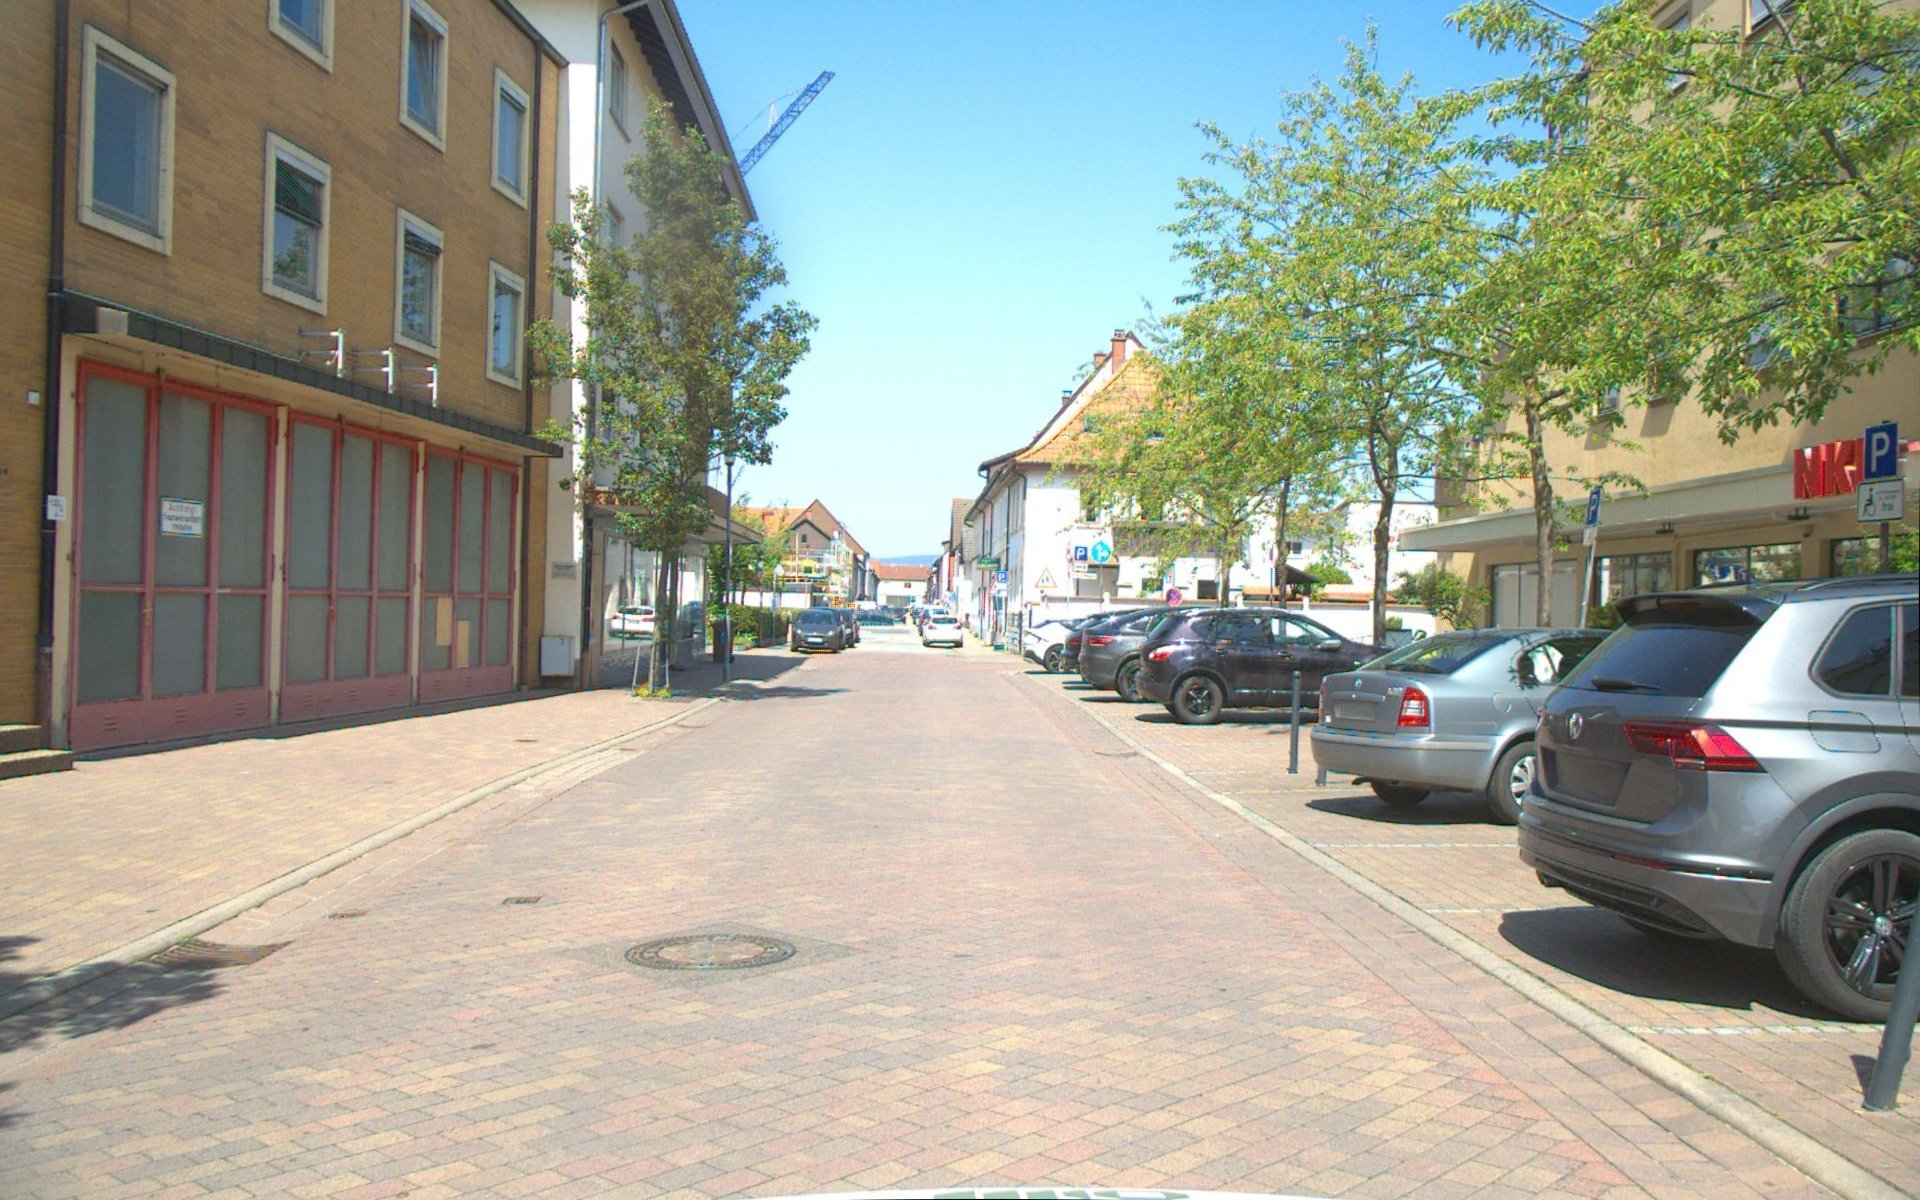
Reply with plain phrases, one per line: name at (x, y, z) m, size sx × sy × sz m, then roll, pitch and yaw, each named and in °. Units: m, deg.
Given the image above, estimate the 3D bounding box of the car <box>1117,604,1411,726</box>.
car at (4.313, 0.911, 23.881) m, size 3.944 × 1.640 × 1.681 m, roll 0°, pitch 1°, yaw 0°

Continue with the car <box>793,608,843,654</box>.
car at (-5.095, 1.083, 59.282) m, size 1.669 × 1.523 × 3.853 m, roll 1°, pitch 0°, yaw -5°

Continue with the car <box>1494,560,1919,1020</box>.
car at (4.596, 0.700, 6.912) m, size 4.158 × 1.646 × 1.756 m, roll 0°, pitch 0°, yaw -3°

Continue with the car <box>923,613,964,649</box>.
car at (-0.754, 1.440, 78.056) m, size 1.848 × 1.569 × 4.242 m, roll 1°, pitch 0°, yaw 0°

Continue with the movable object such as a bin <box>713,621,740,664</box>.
movable object such as a bin at (-6.128, 1.110, 43.421) m, size 0.643 × 1.089 × 0.662 m, roll 2°, pitch -1°, yaw -8°

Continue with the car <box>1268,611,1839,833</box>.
car at (4.828, 0.867, 13.422) m, size 4.317 × 1.489 × 1.876 m, roll -1°, pitch 0°, yaw -25°

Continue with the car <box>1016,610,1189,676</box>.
car at (3.760, 1.123, 44.164) m, size 4.353 × 1.603 × 1.787 m, roll 2°, pitch 0°, yaw -5°

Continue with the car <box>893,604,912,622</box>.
car at (-5.922, 1.323, 170.508) m, size 1.844 × 1.697 × 4.151 m, roll 2°, pitch 0°, yaw -3°

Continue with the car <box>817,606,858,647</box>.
car at (-5.232, 1.124, 70.833) m, size 1.605 × 1.657 × 3.766 m, roll 1°, pitch 0°, yaw -3°

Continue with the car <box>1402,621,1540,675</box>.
car at (15.110, 1.411, 49.003) m, size 3.541 × 1.477 × 1.654 m, roll 1°, pitch 0°, yaw -1°

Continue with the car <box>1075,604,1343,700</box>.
car at (4.252, 0.881, 28.783) m, size 4.415 × 1.616 × 1.850 m, roll 0°, pitch 0°, yaw 1°

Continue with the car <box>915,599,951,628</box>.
car at (-1.625, 0.762, 97.771) m, size 1.848 × 1.583 × 3.890 m, roll -2°, pitch 0°, yaw -5°

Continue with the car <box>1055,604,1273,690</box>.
car at (4.156, 0.939, 34.110) m, size 4.194 × 1.710 × 1.999 m, roll 0°, pitch 0°, yaw -3°
